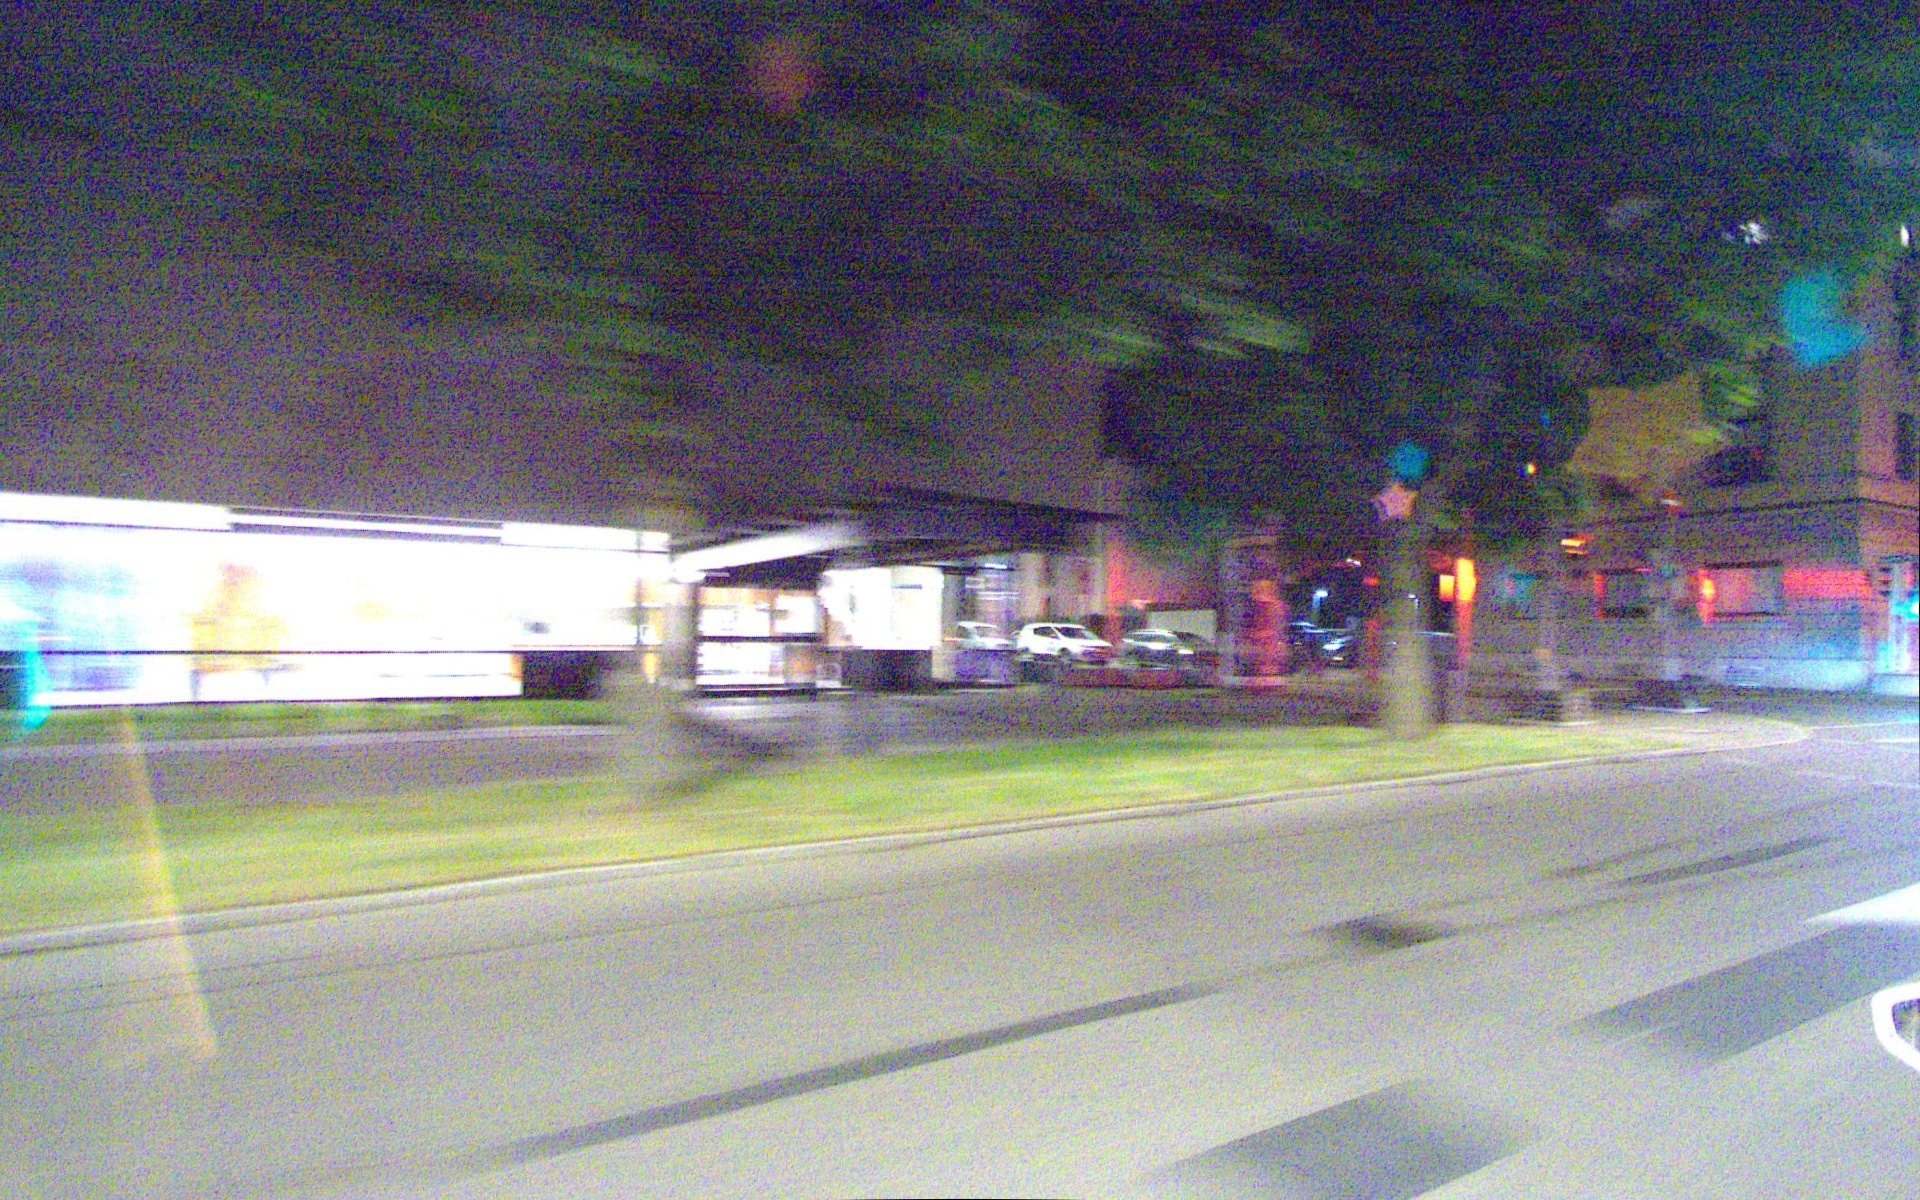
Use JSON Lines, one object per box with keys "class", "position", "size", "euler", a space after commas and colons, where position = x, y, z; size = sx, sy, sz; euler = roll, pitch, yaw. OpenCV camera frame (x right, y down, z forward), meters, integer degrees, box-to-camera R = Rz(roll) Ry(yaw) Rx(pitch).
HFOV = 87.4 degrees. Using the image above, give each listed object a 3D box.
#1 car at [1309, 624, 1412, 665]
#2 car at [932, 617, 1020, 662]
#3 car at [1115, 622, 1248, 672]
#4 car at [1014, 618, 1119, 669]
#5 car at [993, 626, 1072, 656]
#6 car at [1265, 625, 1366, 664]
{"class": "car", "position": [16.909, 1.900, 42.428], "size": [3.949, 1.661, 1.986], "euler": [2, -3, -27]}
{"class": "car", "position": [0.666, 1.744, 44.717], "size": [1.872, 1.730, 4.355], "euler": [7, -5, -29]}
{"class": "car", "position": [7.256, 1.530, 33.345], "size": [1.812, 1.410, 4.355], "euler": [7, -5, -29]}
{"class": "car", "position": [4.066, 1.672, 39.051], "size": [1.812, 1.698, 4.355], "euler": [7, -5, -29]}
{"class": "car", "position": [3.925, 2.274, 55.630], "size": [1.901, 1.534, 5.065], "euler": [2, -3, -29]}
{"class": "car", "position": [15.867, 2.002, 44.803], "size": [4.132, 1.661, 1.986], "euler": [2, -3, -27]}
